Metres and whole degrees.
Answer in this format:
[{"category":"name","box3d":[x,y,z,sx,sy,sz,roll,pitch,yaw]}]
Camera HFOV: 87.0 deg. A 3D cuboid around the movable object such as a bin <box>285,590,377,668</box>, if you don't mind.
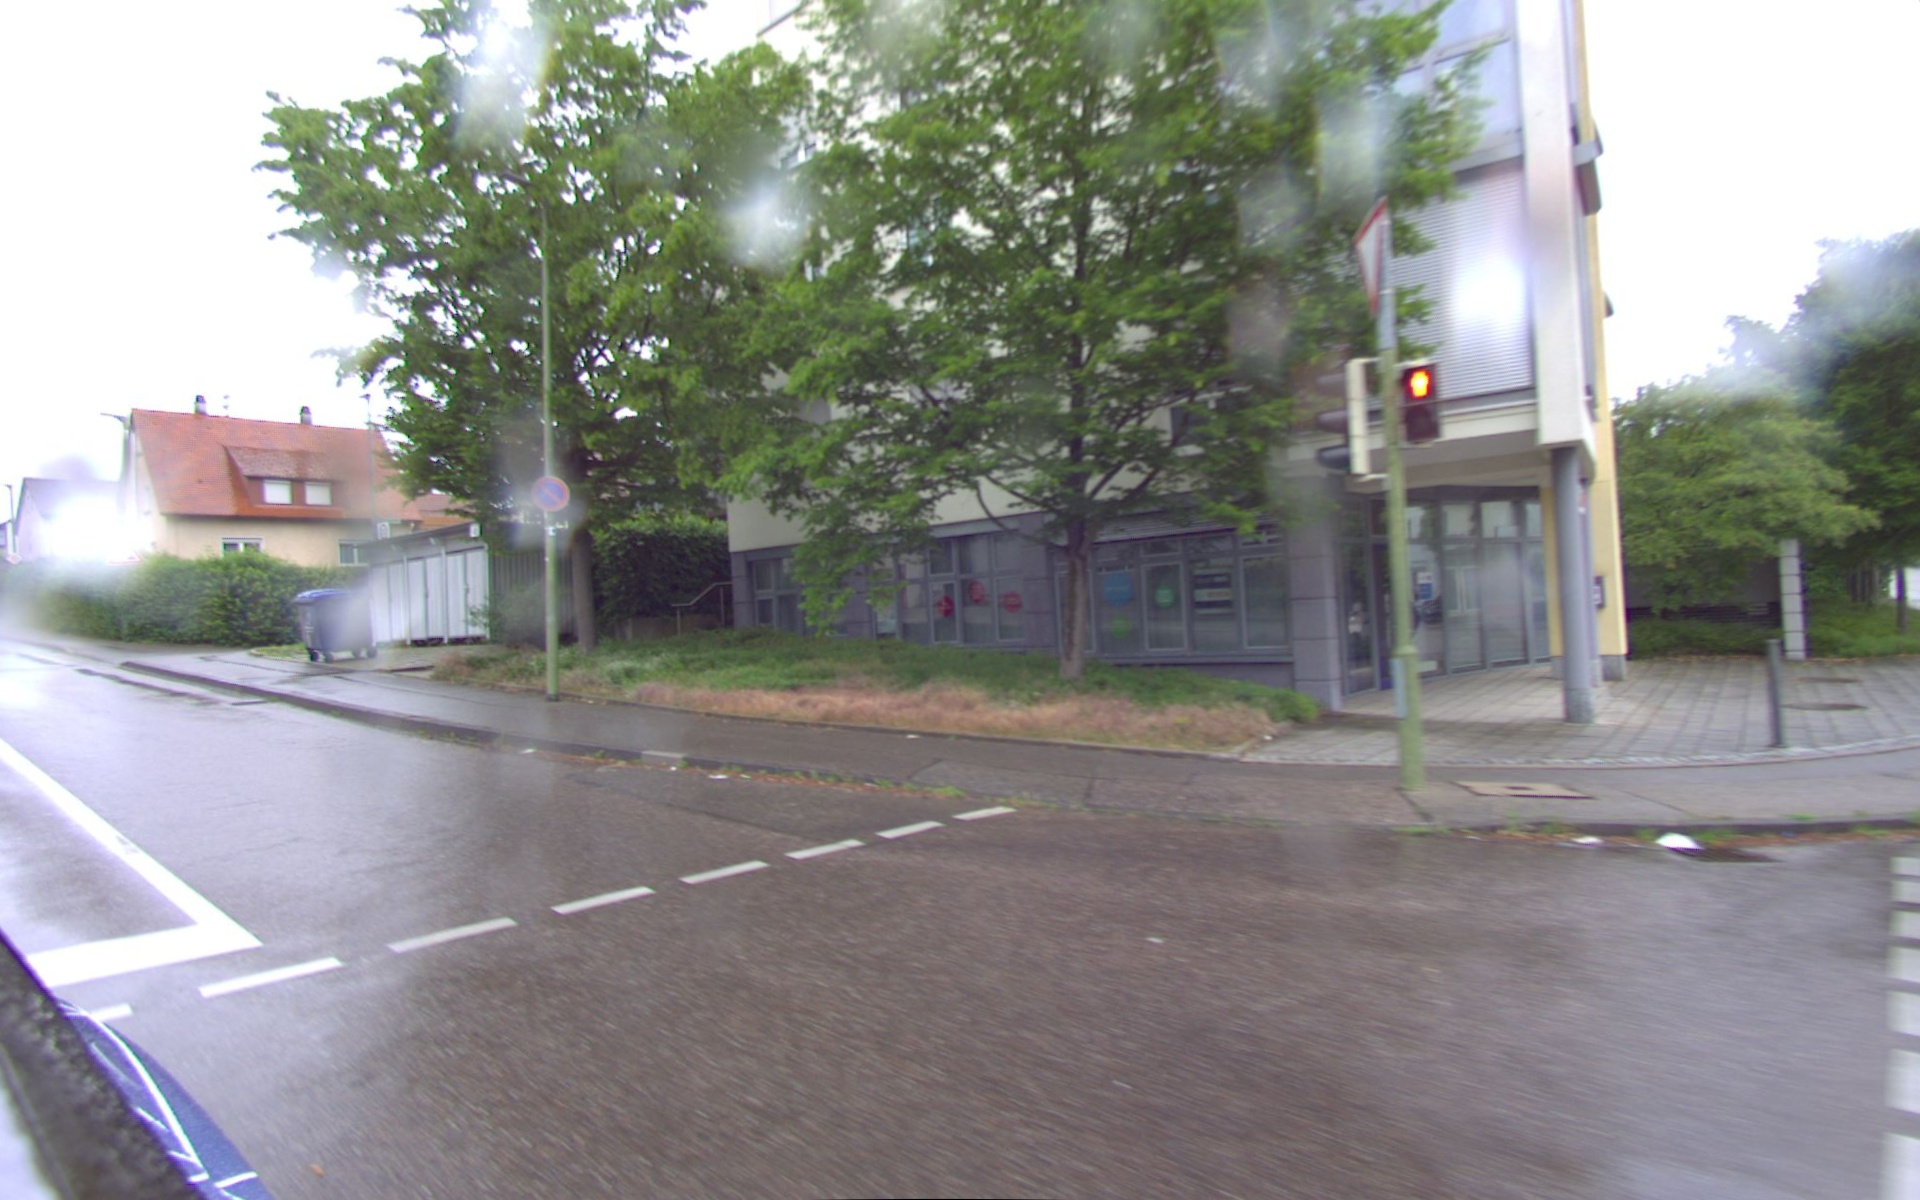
[{"category":"movable object such as a bin","box3d":[-11.686,0.527,18.802,1.201,1.306,1.043,-2,5,41]}]
